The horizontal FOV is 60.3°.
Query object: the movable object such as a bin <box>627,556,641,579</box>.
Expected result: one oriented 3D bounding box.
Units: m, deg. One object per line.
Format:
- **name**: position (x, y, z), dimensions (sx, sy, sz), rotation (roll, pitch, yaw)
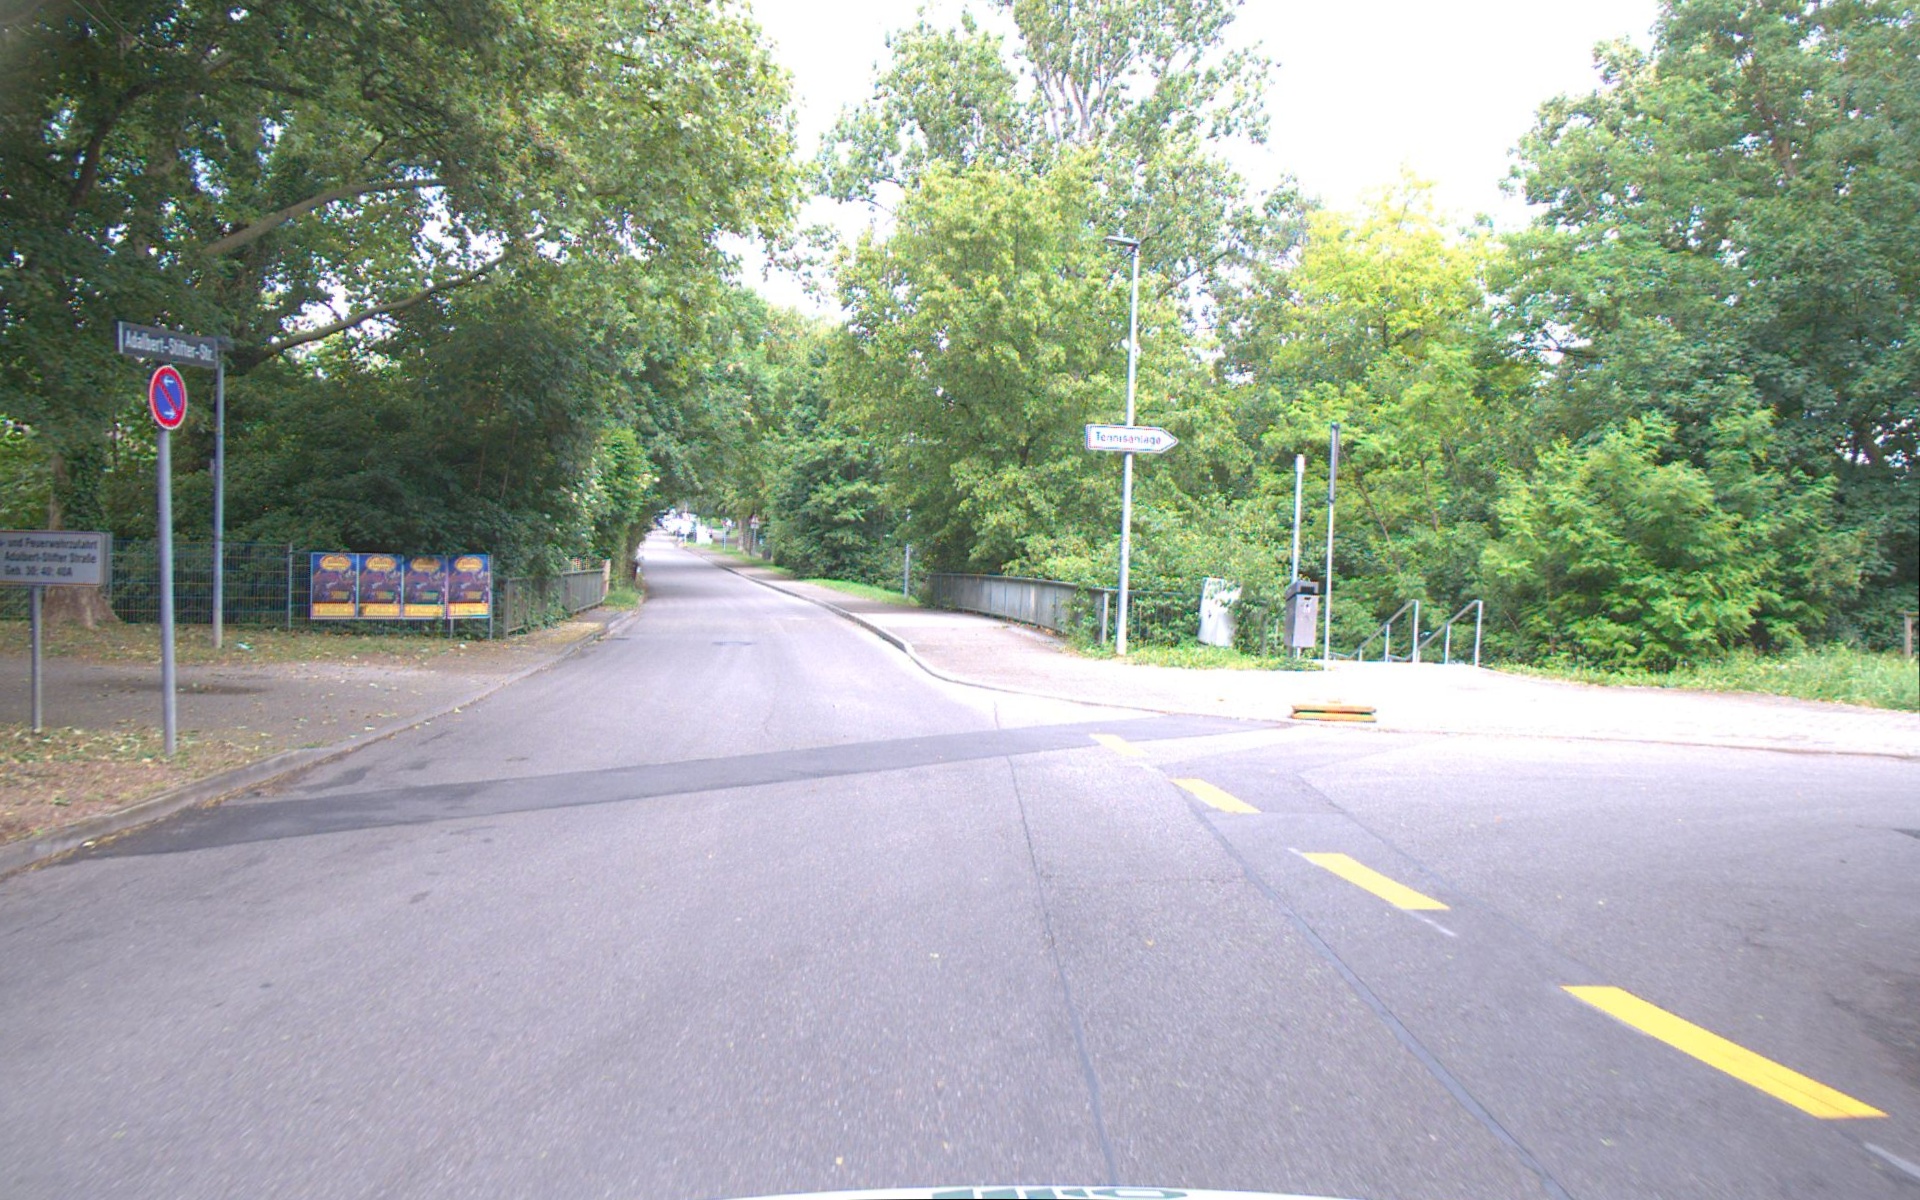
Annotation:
- **movable object such as a bin**: position (-14.020, -1.414, 71.110), dimensions (0.579, 0.974, 0.469), rotation (1, 0, -11)
